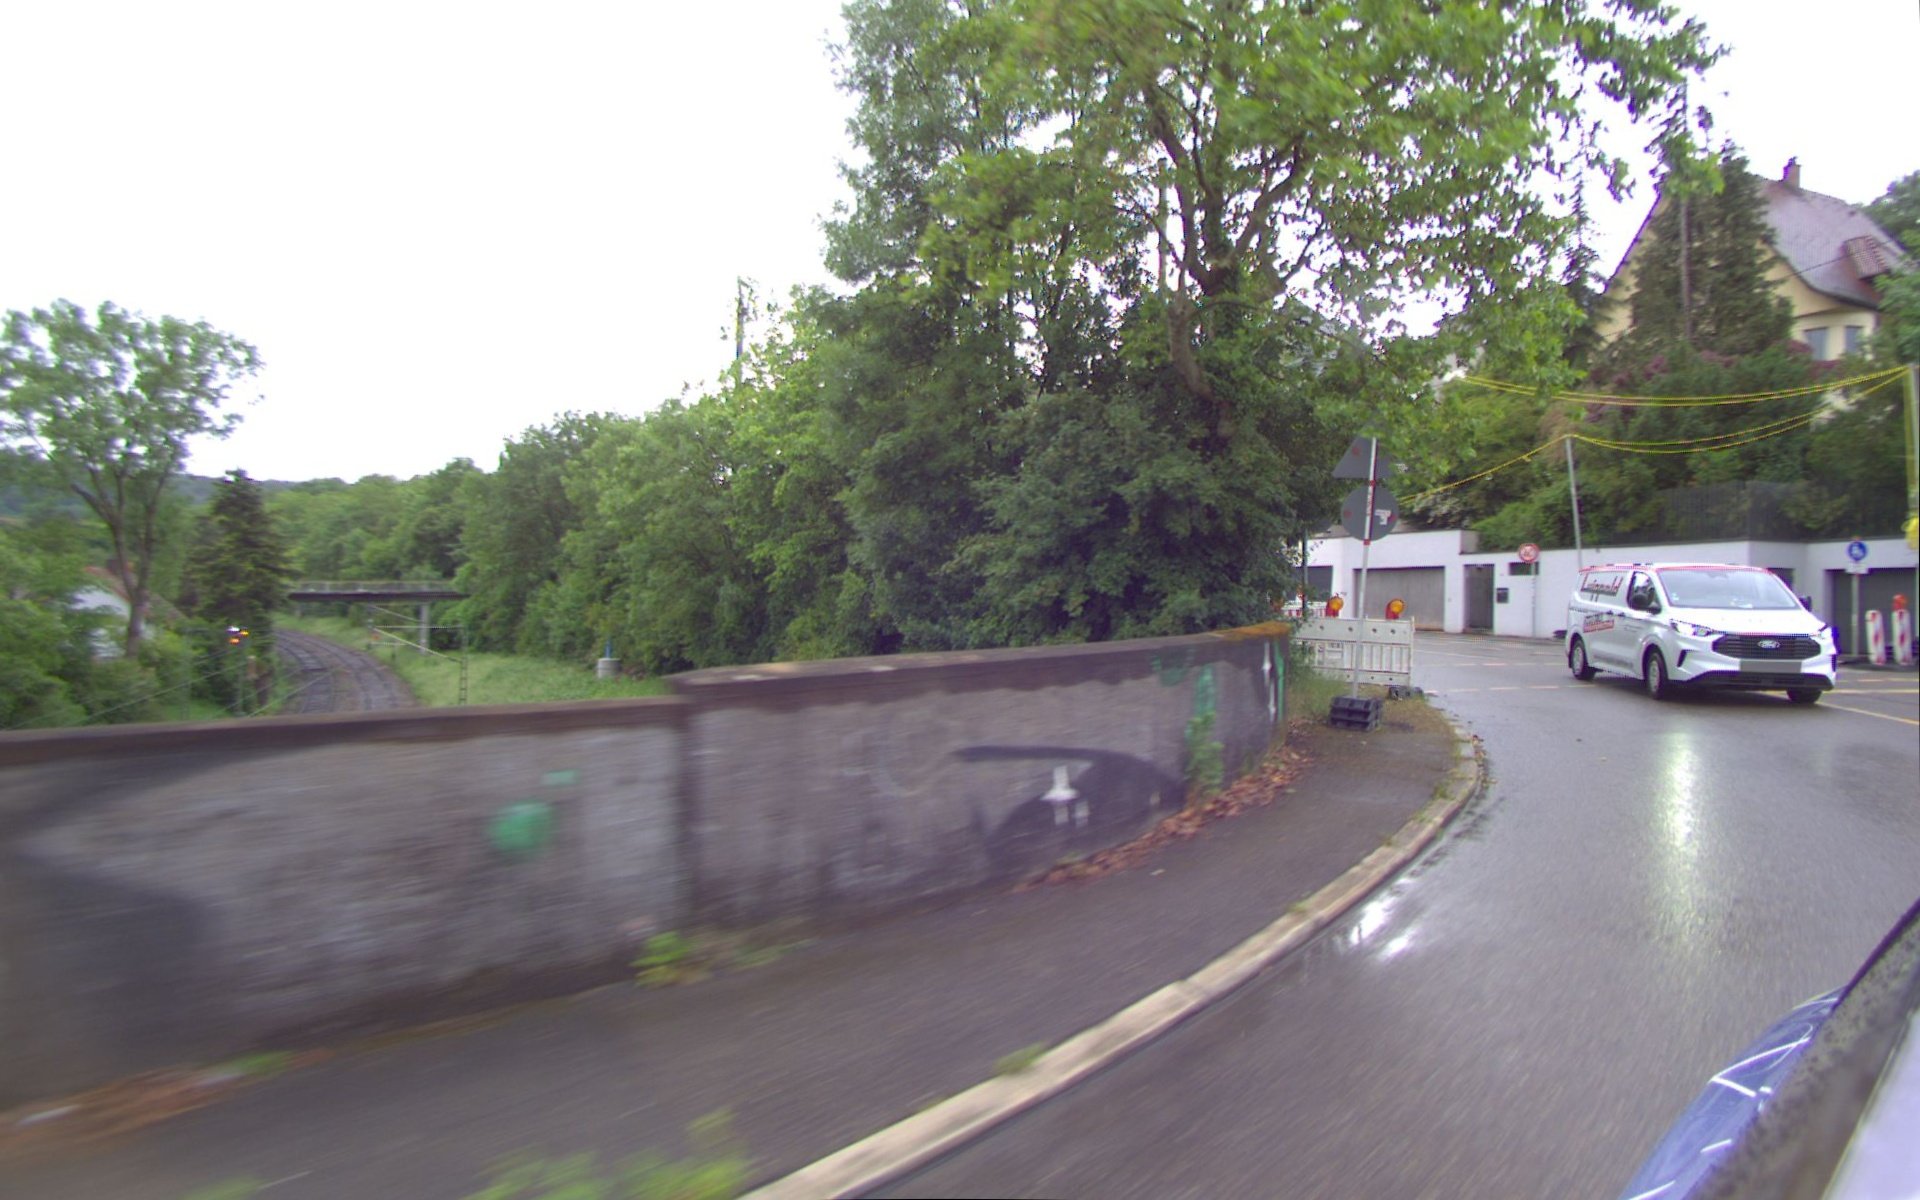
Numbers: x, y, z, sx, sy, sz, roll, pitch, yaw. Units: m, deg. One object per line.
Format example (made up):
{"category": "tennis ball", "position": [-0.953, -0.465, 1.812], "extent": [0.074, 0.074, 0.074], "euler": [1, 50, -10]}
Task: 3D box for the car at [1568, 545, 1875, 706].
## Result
{"category": "car", "position": [11.218, 0.286, 15.441], "extent": [1.971, 2.039, 4.927], "euler": [1, 1, 14]}
